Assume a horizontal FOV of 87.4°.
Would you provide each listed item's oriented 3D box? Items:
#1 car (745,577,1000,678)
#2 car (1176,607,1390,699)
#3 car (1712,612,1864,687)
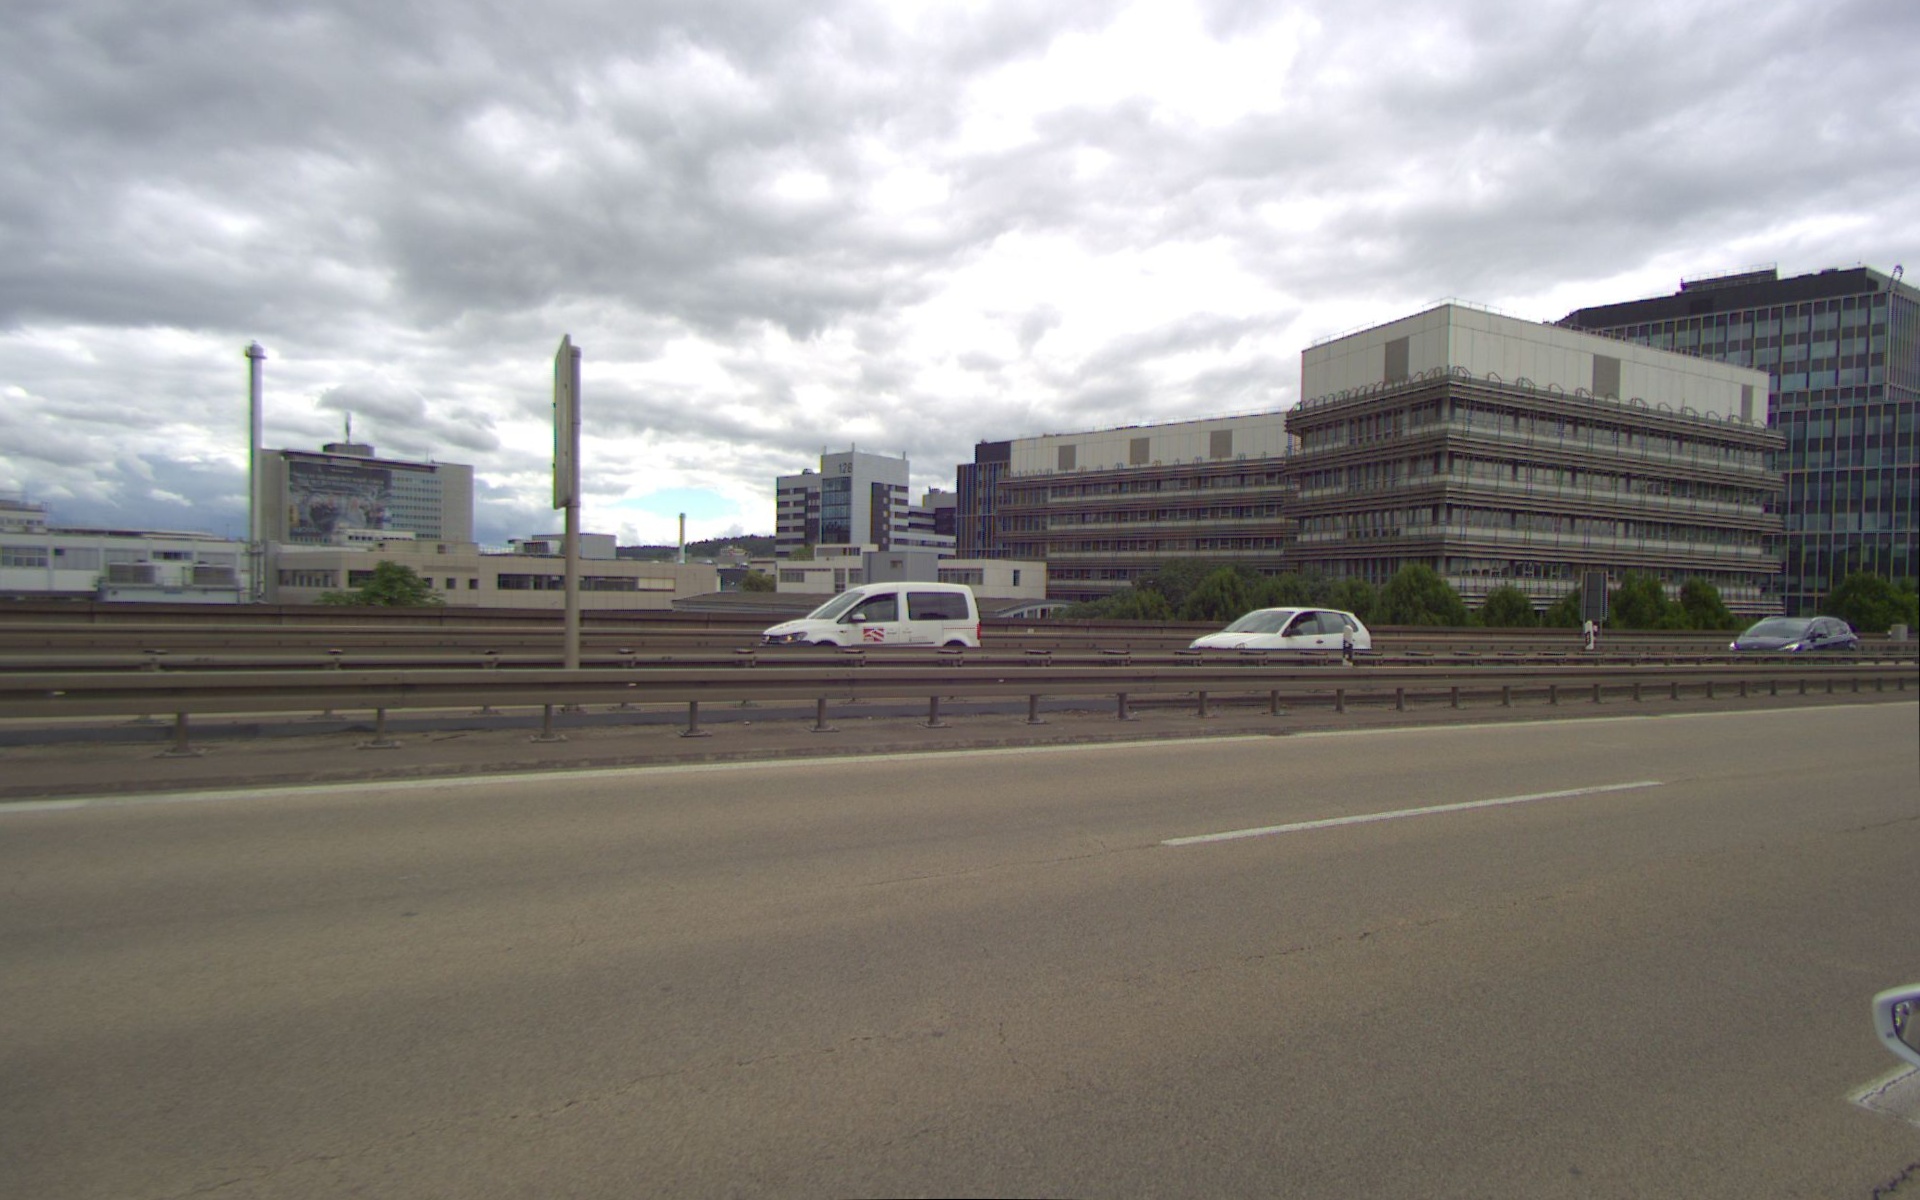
[{"bbox_3d":[-1.629,0.522,19.293,4.549,1.734,1.858,1,-1,-31],"label":"car"},{"bbox_3d":[6.186,0.961,19.113,3.954,1.581,1.740,1,-1,-31],"label":"car"},{"bbox_3d":[24.286,1.412,29.443,4.496,2.040,1.985,1,-1,-30],"label":"car"}]
